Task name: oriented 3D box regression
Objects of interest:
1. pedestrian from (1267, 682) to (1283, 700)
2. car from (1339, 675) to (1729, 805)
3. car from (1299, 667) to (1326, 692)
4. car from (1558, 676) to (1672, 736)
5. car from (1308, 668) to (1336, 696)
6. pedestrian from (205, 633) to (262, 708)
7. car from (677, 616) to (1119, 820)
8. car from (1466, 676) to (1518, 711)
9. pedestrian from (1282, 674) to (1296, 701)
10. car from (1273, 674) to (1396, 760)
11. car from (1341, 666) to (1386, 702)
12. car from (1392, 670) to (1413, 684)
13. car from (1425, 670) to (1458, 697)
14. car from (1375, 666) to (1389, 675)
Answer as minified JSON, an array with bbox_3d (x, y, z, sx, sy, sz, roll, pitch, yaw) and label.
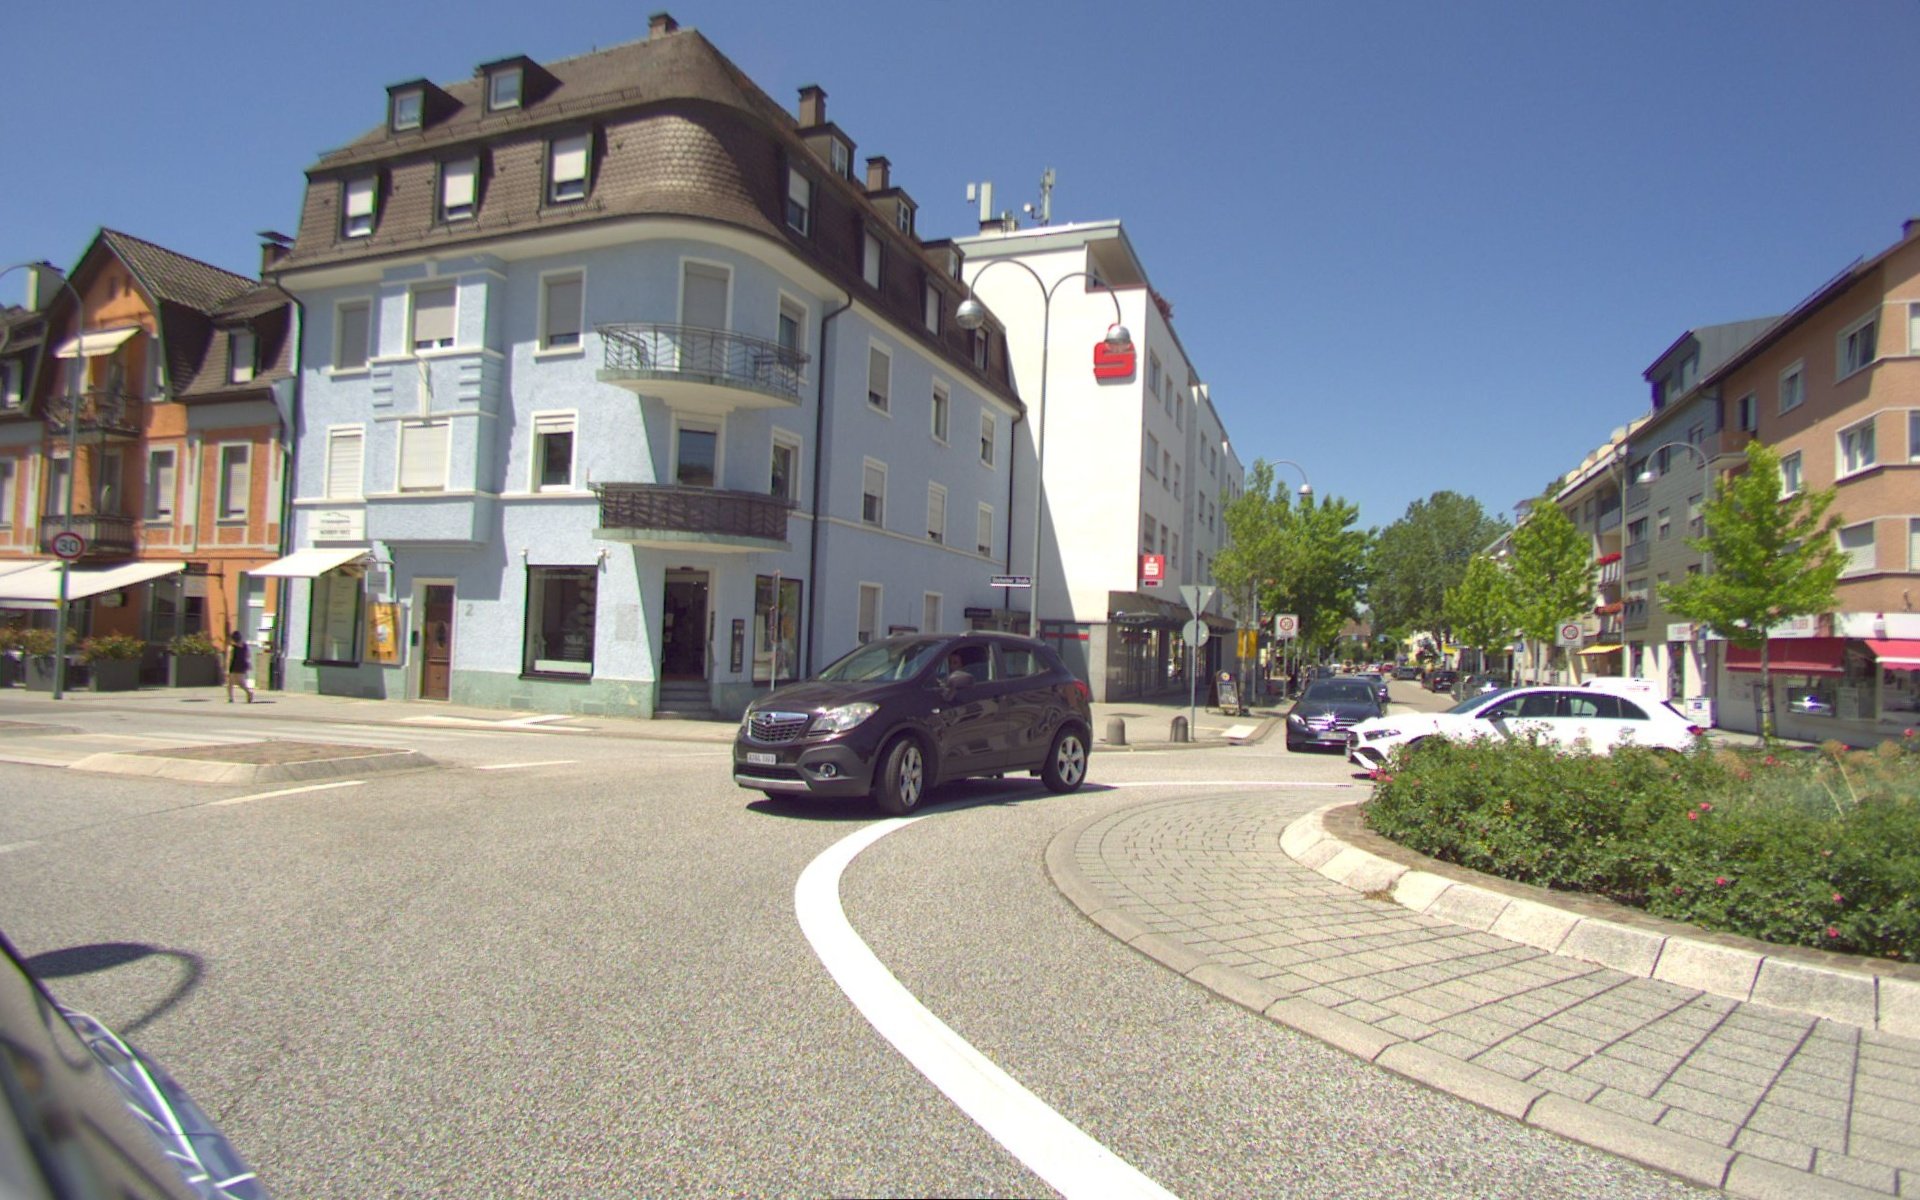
[{"bbox_3d":[16.657,4.824,53.522,0.664,0.865,0.725,-1,-8,30],"label":"pedestrian"},{"bbox_3d":[7.587,1.833,13.874,4.247,1.392,1.924,2,-5,14],"label":"car"},{"bbox_3d":[27.013,6.069,77.487,1.816,1.632,4.363,3,-2,20],"label":"car"},{"bbox_3d":[21.303,3.407,33.092,1.734,1.737,3.896,0,-3,11],"label":"car"},{"bbox_3d":[25.785,5.788,72.088,1.721,1.753,4.363,4,-2,20],"label":"car"},{"bbox_3d":[-15.430,1.484,21.507,0.798,1.536,0.624,1,-1,21],"label":"pedestrian"},{"bbox_3d":[-0.433,1.096,10.063,2.000,1.574,4.106,-2,-6,43],"label":"car"},{"bbox_3d":[25.682,4.502,48.955,1.735,1.562,3.915,0,-4,21],"label":"car"},{"bbox_3d":[16.989,4.511,52.282,0.567,1.382,0.660,-1,-4,30],"label":"pedestrian"},{"bbox_3d":[7.751,2.358,21.376,1.981,1.489,4.685,0,-3,15],"label":"car"},{"bbox_3d":[20.429,4.213,51.348,1.986,1.605,4.963,1,-3,21],"label":"car"},{"bbox_3d":[51.926,9.013,118.854,1.968,1.461,4.318,-1,-3,21],"label":"car"},{"bbox_3d":[35.823,6.182,75.419,1.987,1.812,4.533,0,-2,23],"label":"car"},{"bbox_3d":[71.631,11.990,171.779,1.942,1.487,4.109,0,-3,20],"label":"car"}]
